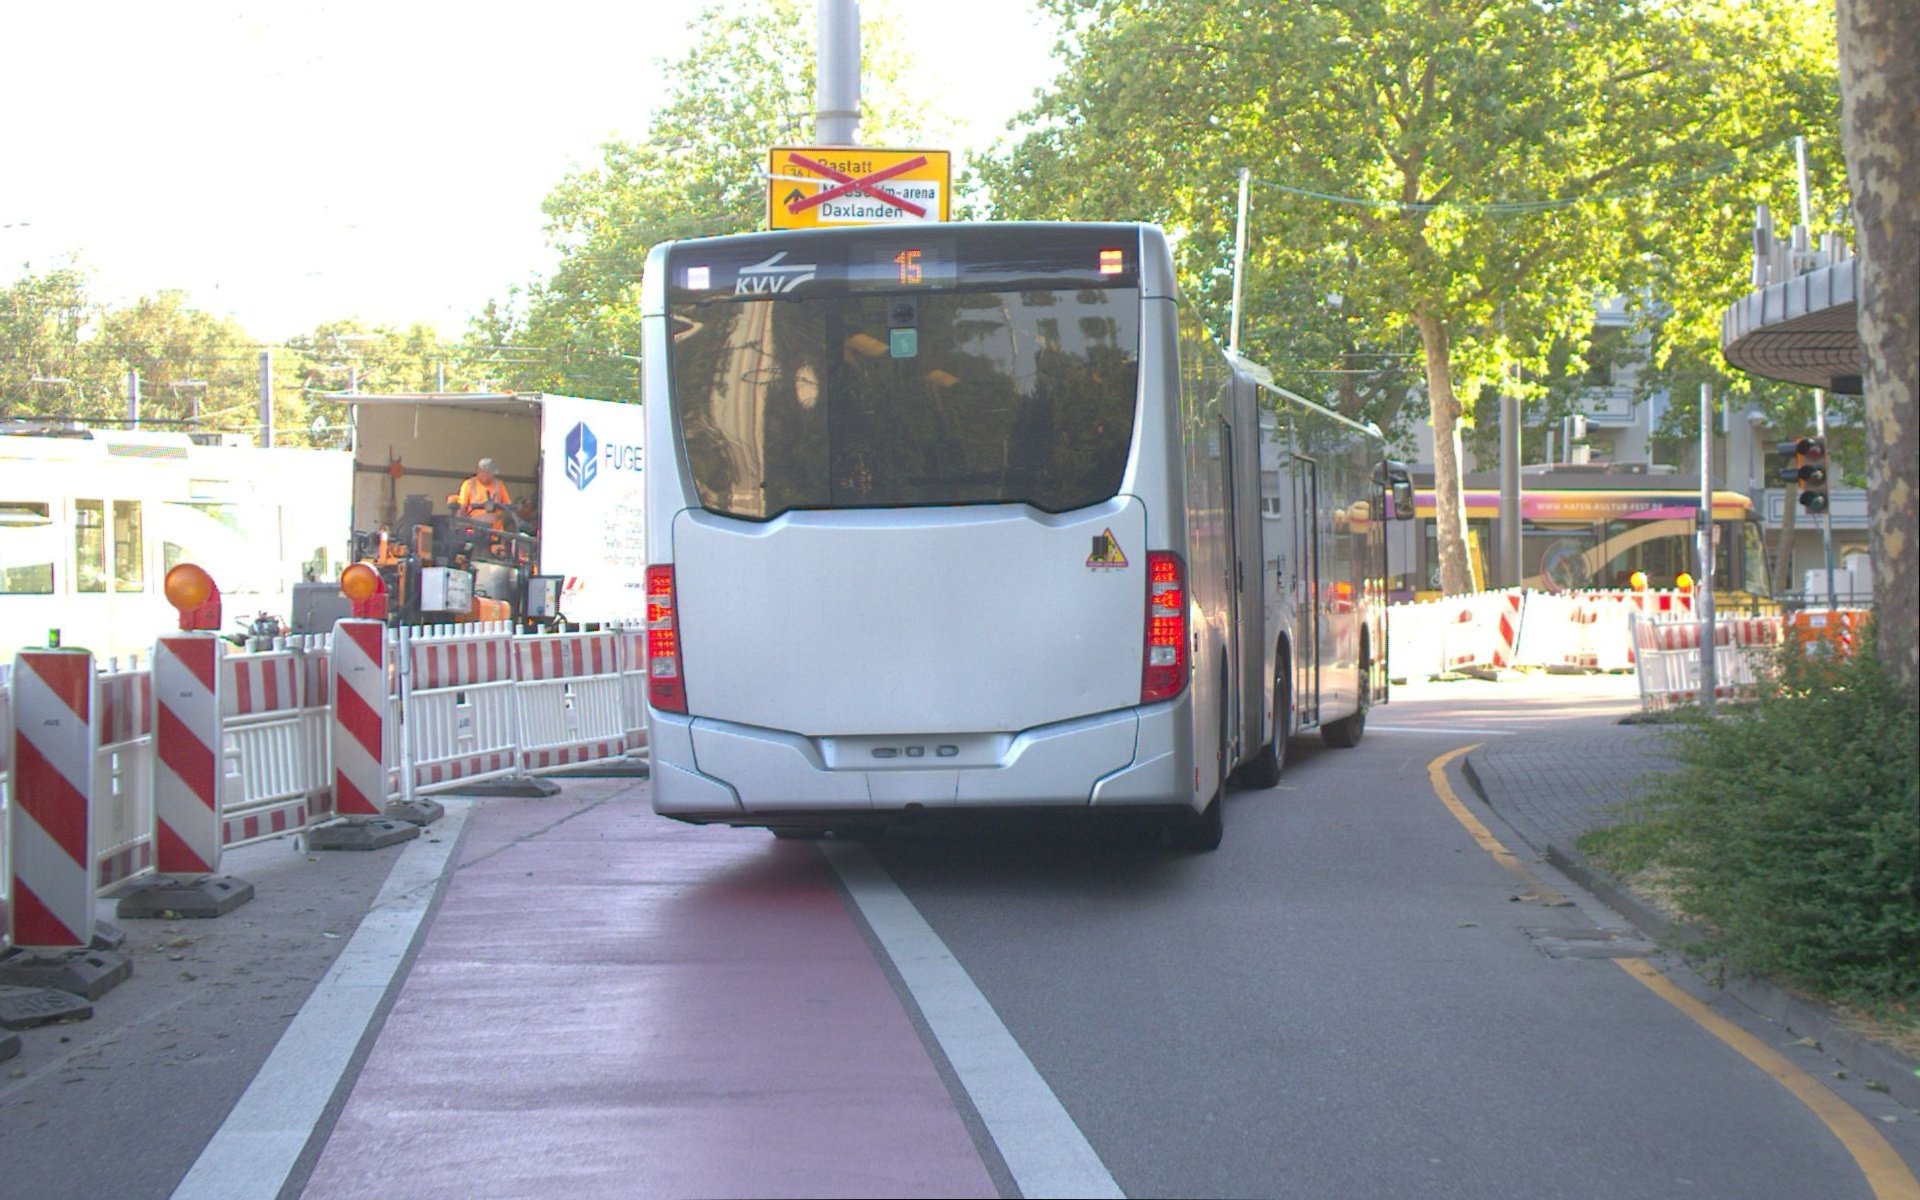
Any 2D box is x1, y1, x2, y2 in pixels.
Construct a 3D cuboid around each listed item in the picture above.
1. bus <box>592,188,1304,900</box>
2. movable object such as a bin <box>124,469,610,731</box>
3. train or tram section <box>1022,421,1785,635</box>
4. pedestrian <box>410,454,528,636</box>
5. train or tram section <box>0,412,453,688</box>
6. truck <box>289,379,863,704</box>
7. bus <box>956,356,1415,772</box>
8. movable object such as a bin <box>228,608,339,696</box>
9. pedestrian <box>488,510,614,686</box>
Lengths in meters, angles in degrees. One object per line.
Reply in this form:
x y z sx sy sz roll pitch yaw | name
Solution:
0.456 -0.334 20.598 2.734 3.128 10.700 1 1 8 | bus
-5.511 -0.035 32.768 1.996 2.249 5.201 2 1 23 | movable object such as a bin
7.835 -1.186 60.284 13.285 3.507 2.650 0 0 -16 | train or tram section
-5.517 -0.627 38.672 0.937 2.006 1.000 1 2 22 | pedestrian
-12.395 -0.635 46.142 2.855 3.521 13.370 0 0 33 | train or tram section
-4.403 -0.681 42.009 2.816 3.529 8.972 1 1 24 | truck
2.254 -0.318 30.207 2.710 3.096 8.975 0 1 12 | bus
-7.259 0.553 36.944 0.932 0.914 1.420 0 0 -1 | movable object such as a bin
-4.240 -0.030 35.704 0.973 1.792 1.069 1 1 14 | pedestrian
